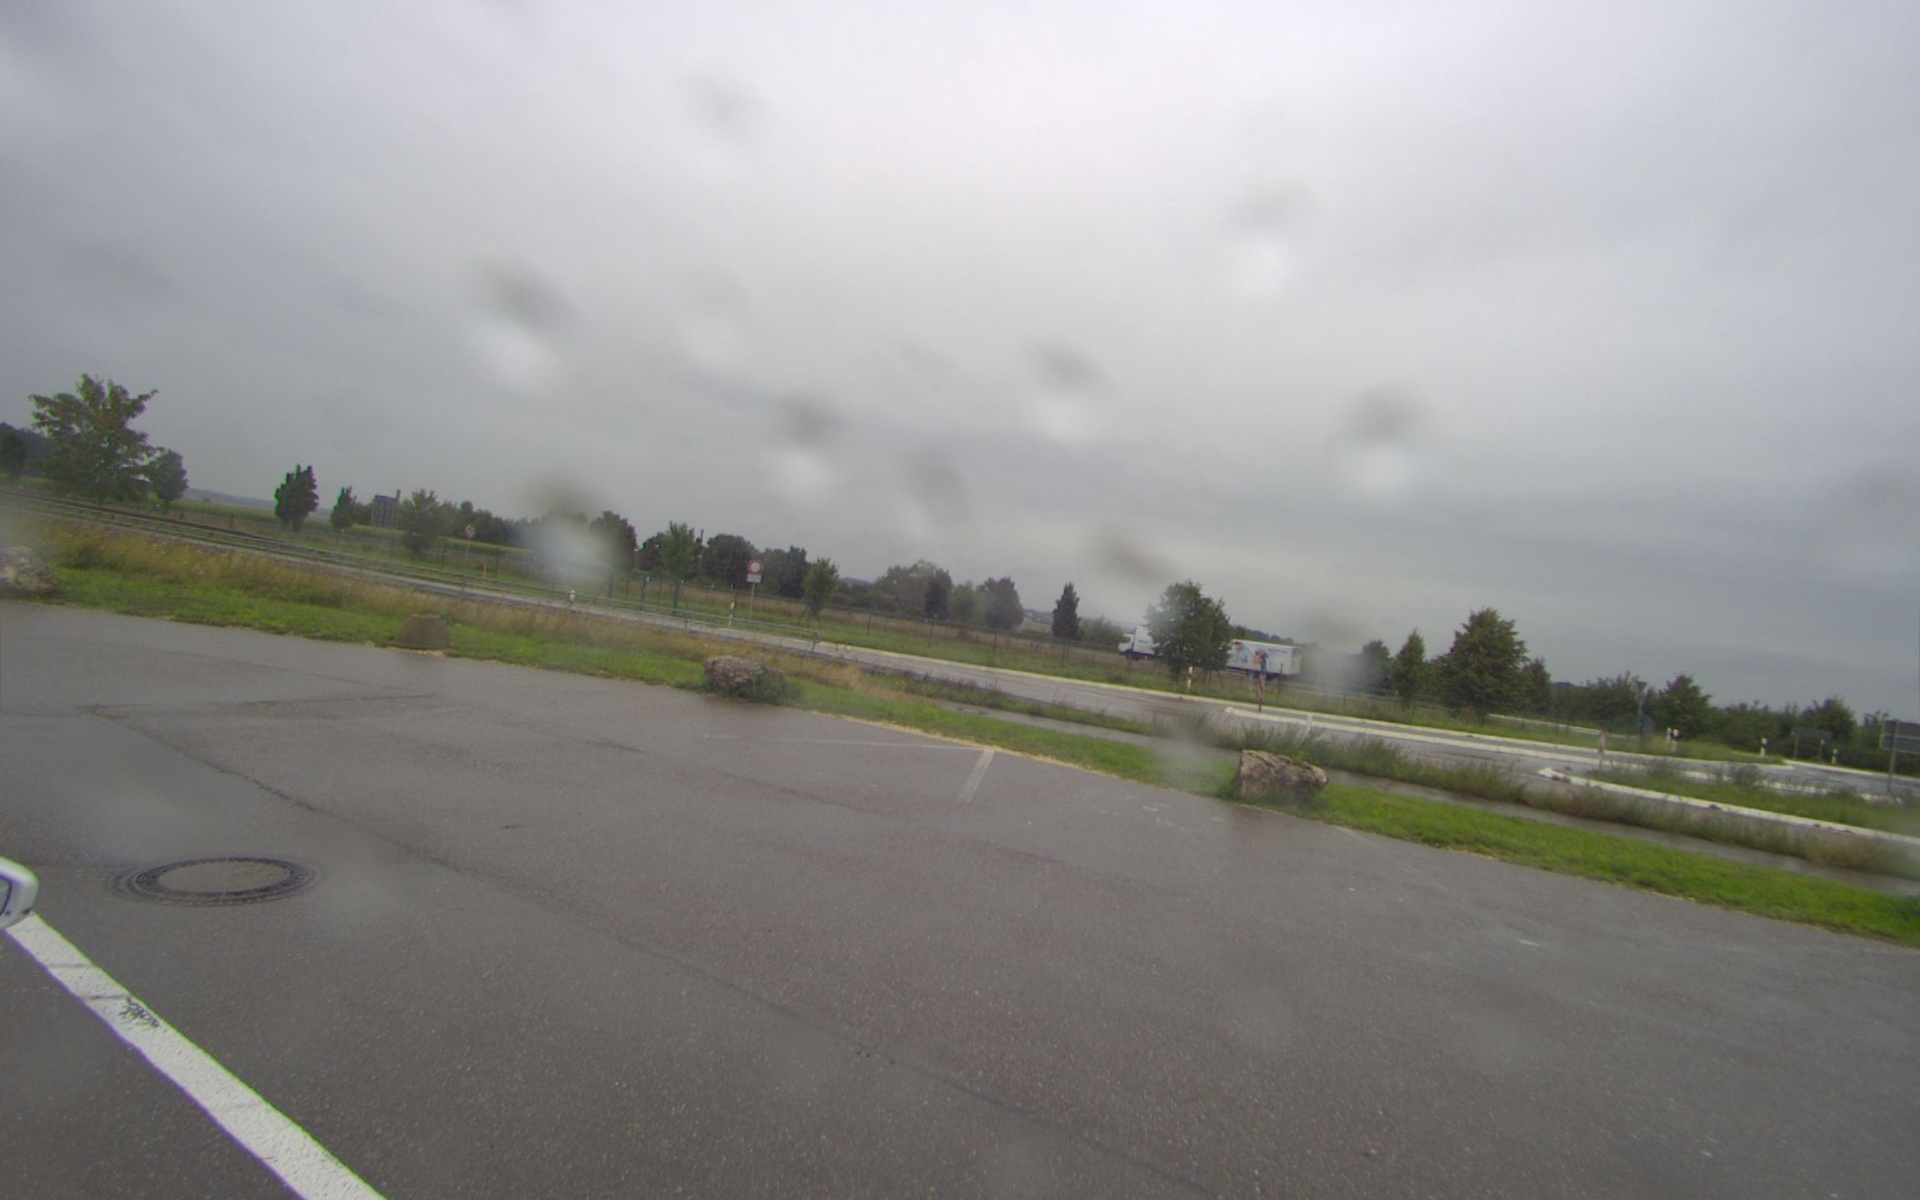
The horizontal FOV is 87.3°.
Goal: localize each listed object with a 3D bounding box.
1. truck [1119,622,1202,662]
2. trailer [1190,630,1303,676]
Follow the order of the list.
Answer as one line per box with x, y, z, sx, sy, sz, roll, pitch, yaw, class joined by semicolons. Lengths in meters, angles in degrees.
20.264;4.184;101.882;7.669;2.942;2.179;7;-1;35;truck
27.431;5.074;96.786;9.983;2.936;2.202;7;-1;35;trailer
